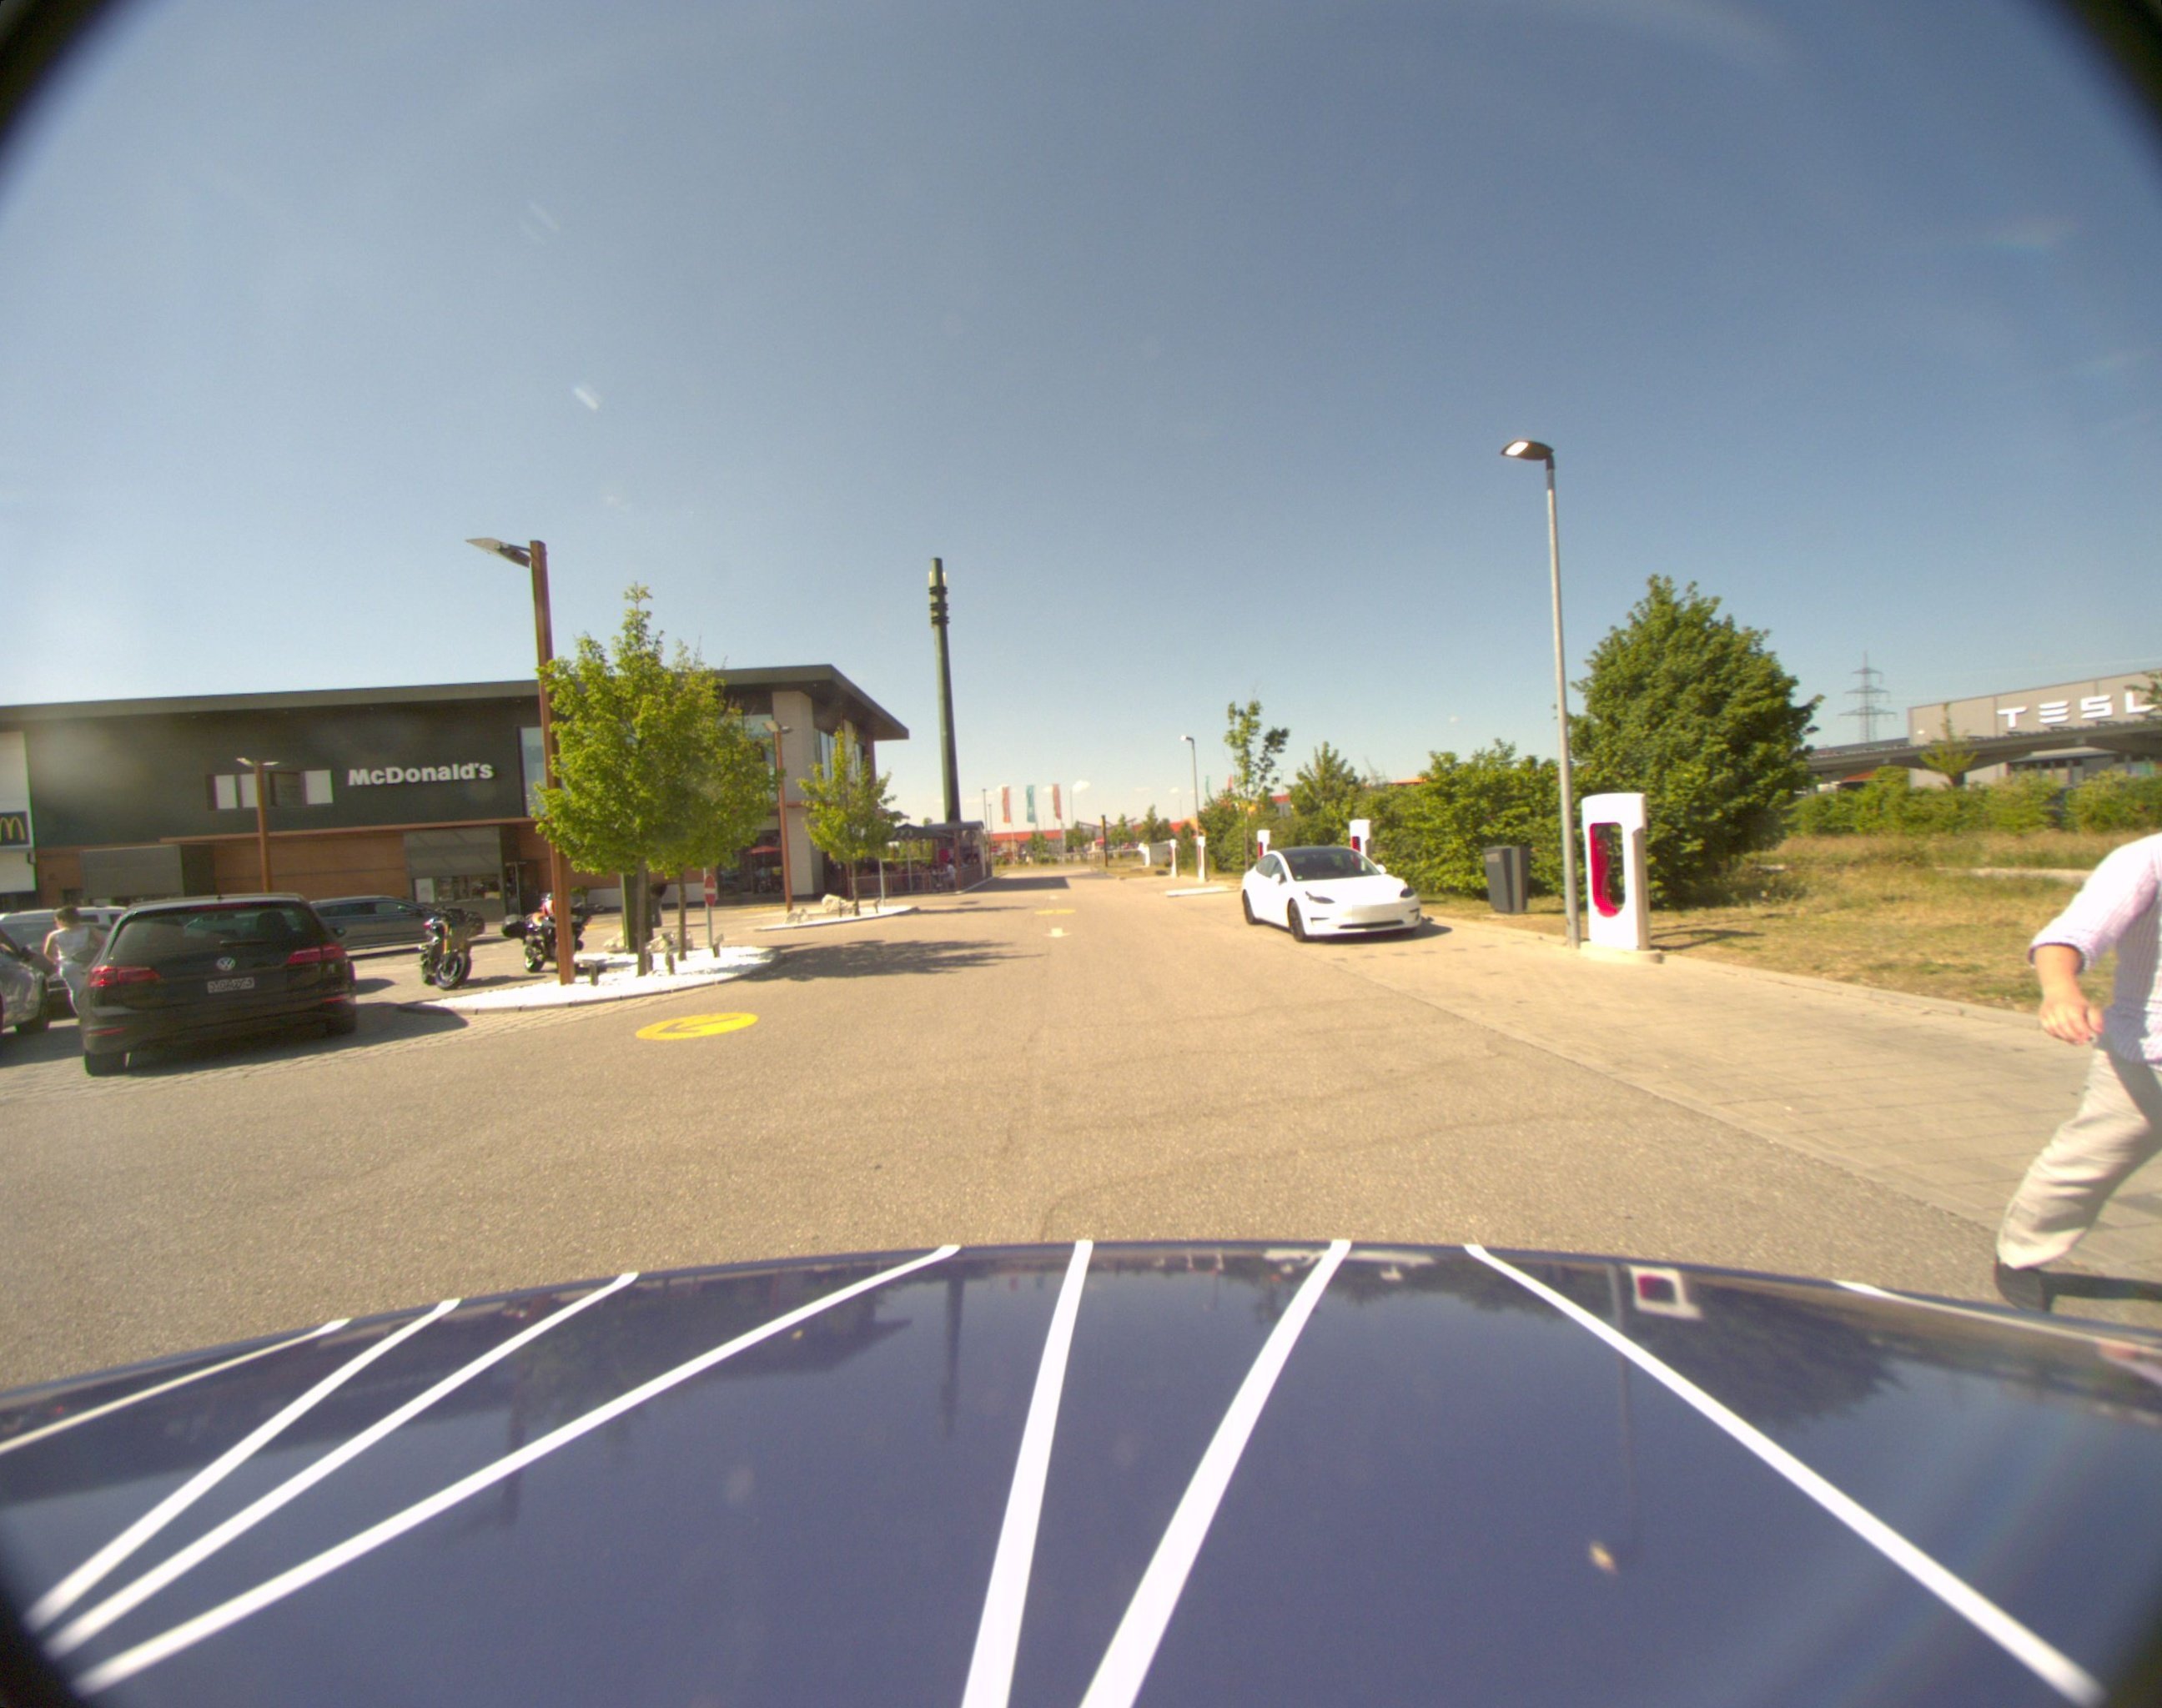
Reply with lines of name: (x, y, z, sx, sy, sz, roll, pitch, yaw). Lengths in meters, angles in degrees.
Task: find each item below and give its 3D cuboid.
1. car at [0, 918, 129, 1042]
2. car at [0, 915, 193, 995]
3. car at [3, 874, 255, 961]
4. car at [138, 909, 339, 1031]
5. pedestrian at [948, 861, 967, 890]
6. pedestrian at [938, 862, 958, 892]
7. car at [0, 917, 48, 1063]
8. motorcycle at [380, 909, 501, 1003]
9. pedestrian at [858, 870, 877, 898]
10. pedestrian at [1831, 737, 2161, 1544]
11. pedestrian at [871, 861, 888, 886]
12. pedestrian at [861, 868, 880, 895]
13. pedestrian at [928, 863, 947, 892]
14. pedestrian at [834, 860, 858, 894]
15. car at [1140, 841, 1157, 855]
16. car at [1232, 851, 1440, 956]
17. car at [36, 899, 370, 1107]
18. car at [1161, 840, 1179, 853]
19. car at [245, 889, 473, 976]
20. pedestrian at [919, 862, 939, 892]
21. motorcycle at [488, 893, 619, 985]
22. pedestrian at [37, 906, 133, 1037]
car: (-16.700, 1.924, 11.754, 1.815, 1.584, 3.989, -4, 1, -43)
car: (-24.298, 2.407, 18.439, 1.564, 1.473, 3.421, -3, 1, 38)
car: (-26.168, 1.669, 21.075, 1.753, 1.910, 4.152, -3, 1, 37)
car: (-13.560, 1.756, 12.452, 4.651, 1.438, 1.839, -5, 0, 45)
pedestrian: (-5.599, 0.956, 34.463, 0.729, 1.250, 0.573, -4, 1, -7)
pedestrian: (-5.751, 1.002, 32.948, 0.729, 1.250, 0.573, -4, 1, -7)
car: (-13.300, 1.610, 8.365, 4.057, 1.630, 1.751, -4, 0, 43)
motorcycle: (-9.723, 1.508, 11.506, 2.136, 1.224, 0.822, -4, 1, 36)
pedestrian: (-8.971, 1.249, 31.922, 0.634, 1.117, 0.524, -4, 1, -6)
pedestrian: (2.726, 0.620, 1.835, 0.736, 1.790, 1.035, -4, 1, 2)
pedestrian: (-9.500, 0.909, 35.812, 0.573, 1.094, 0.656, -4, 1, -4)
pedestrian: (-8.990, 1.174, 32.521, 0.634, 1.117, 0.524, -4, 1, -6)
pedestrian: (-6.491, 1.043, 34.430, 0.715, 1.250, 0.524, -4, 1, -6)
pedestrian: (-11.326, 1.114, 36.674, 0.740, 1.574, 0.729, -4, 1, 7)
car: (10.416, -0.967, 117.065, 1.999, 2.002, 3.999, -3, 0, -2)
car: (4.073, 0.695, 13.028, 1.821, 1.369, 4.447, -4, 0, -3)
car: (-9.324, 1.337, 8.271, 4.180, 1.528, 1.899, -3, 1, 42)
car: (13.763, -1.145, 117.616, 1.999, 2.002, 3.999, -3, 0, -2)
car: (-19.460, 2.020, 20.644, 1.785, 1.595, 4.234, 0, 4, 41)
pedestrian: (-6.476, 0.974, 32.442, 0.715, 1.250, 0.524, -4, 1, -6)
motorcycle: (-8.547, 1.348, 12.279, 2.246, 1.243, 1.073, -5, 1, 39)
pedestrian: (-13.906, 1.603, 10.624, 0.612, 1.703, 0.562, -4, 1, -39)
